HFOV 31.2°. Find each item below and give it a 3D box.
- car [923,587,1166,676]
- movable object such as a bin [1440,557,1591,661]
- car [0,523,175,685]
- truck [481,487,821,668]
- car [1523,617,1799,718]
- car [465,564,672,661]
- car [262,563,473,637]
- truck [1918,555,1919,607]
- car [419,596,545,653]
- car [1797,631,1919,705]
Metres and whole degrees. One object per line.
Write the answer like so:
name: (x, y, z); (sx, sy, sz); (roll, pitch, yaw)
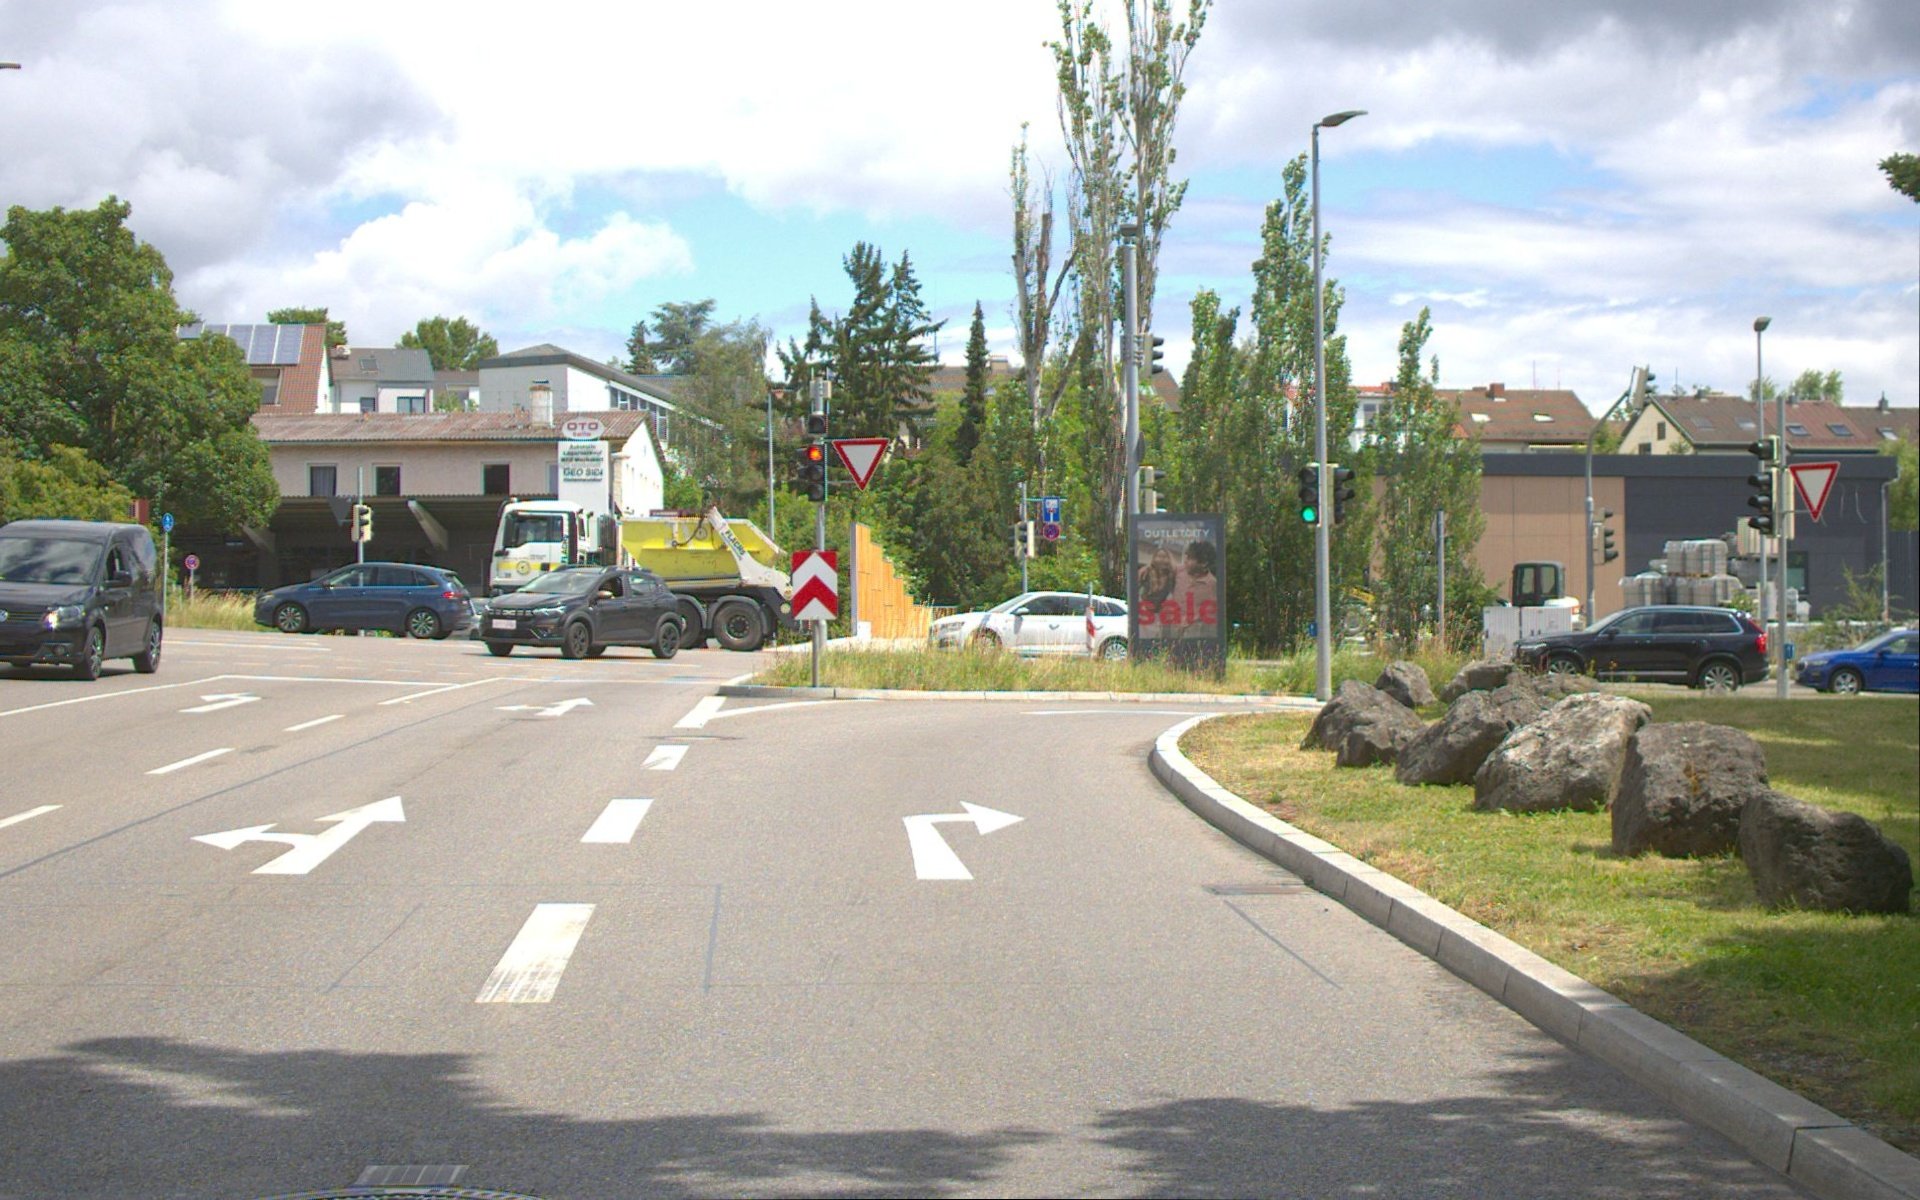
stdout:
car: (1.601, 0.597, 65.917); (4.362, 1.464, 1.622); (3, 0, -10)
movable object such as a bin: (14.375, 0.243, 88.927); (3.407, 2.529, 2.150); (2, -1, 20)
car: (-10.673, 0.029, 40.136); (1.785, 1.772, 4.811); (0, 0, 2)
truck: (-6.636, -0.476, 74.522); (6.944, 3.567, 2.847); (-2, -1, 1)
car: (13.550, 1.295, 66.669); (4.966, 1.684, 1.910); (3, 0, 4)
car: (-6.588, 0.186, 58.289); (1.787, 1.572, 4.160); (0, 0, 20)
car: (-12.185, 0.007, 70.811); (3.987, 1.396, 1.697); (2, 0, 2)
truck: (32.610, -0.424, 104.580); (6.564, 2.138, 1.998); (-2, -1, 17)
car: (-12.610, 0.638, 90.488); (1.691, 1.396, 4.000); (2, 0, -33)
car: (19.188, 1.400, 69.737); (3.987, 1.396, 1.696); (2, 0, 3)
